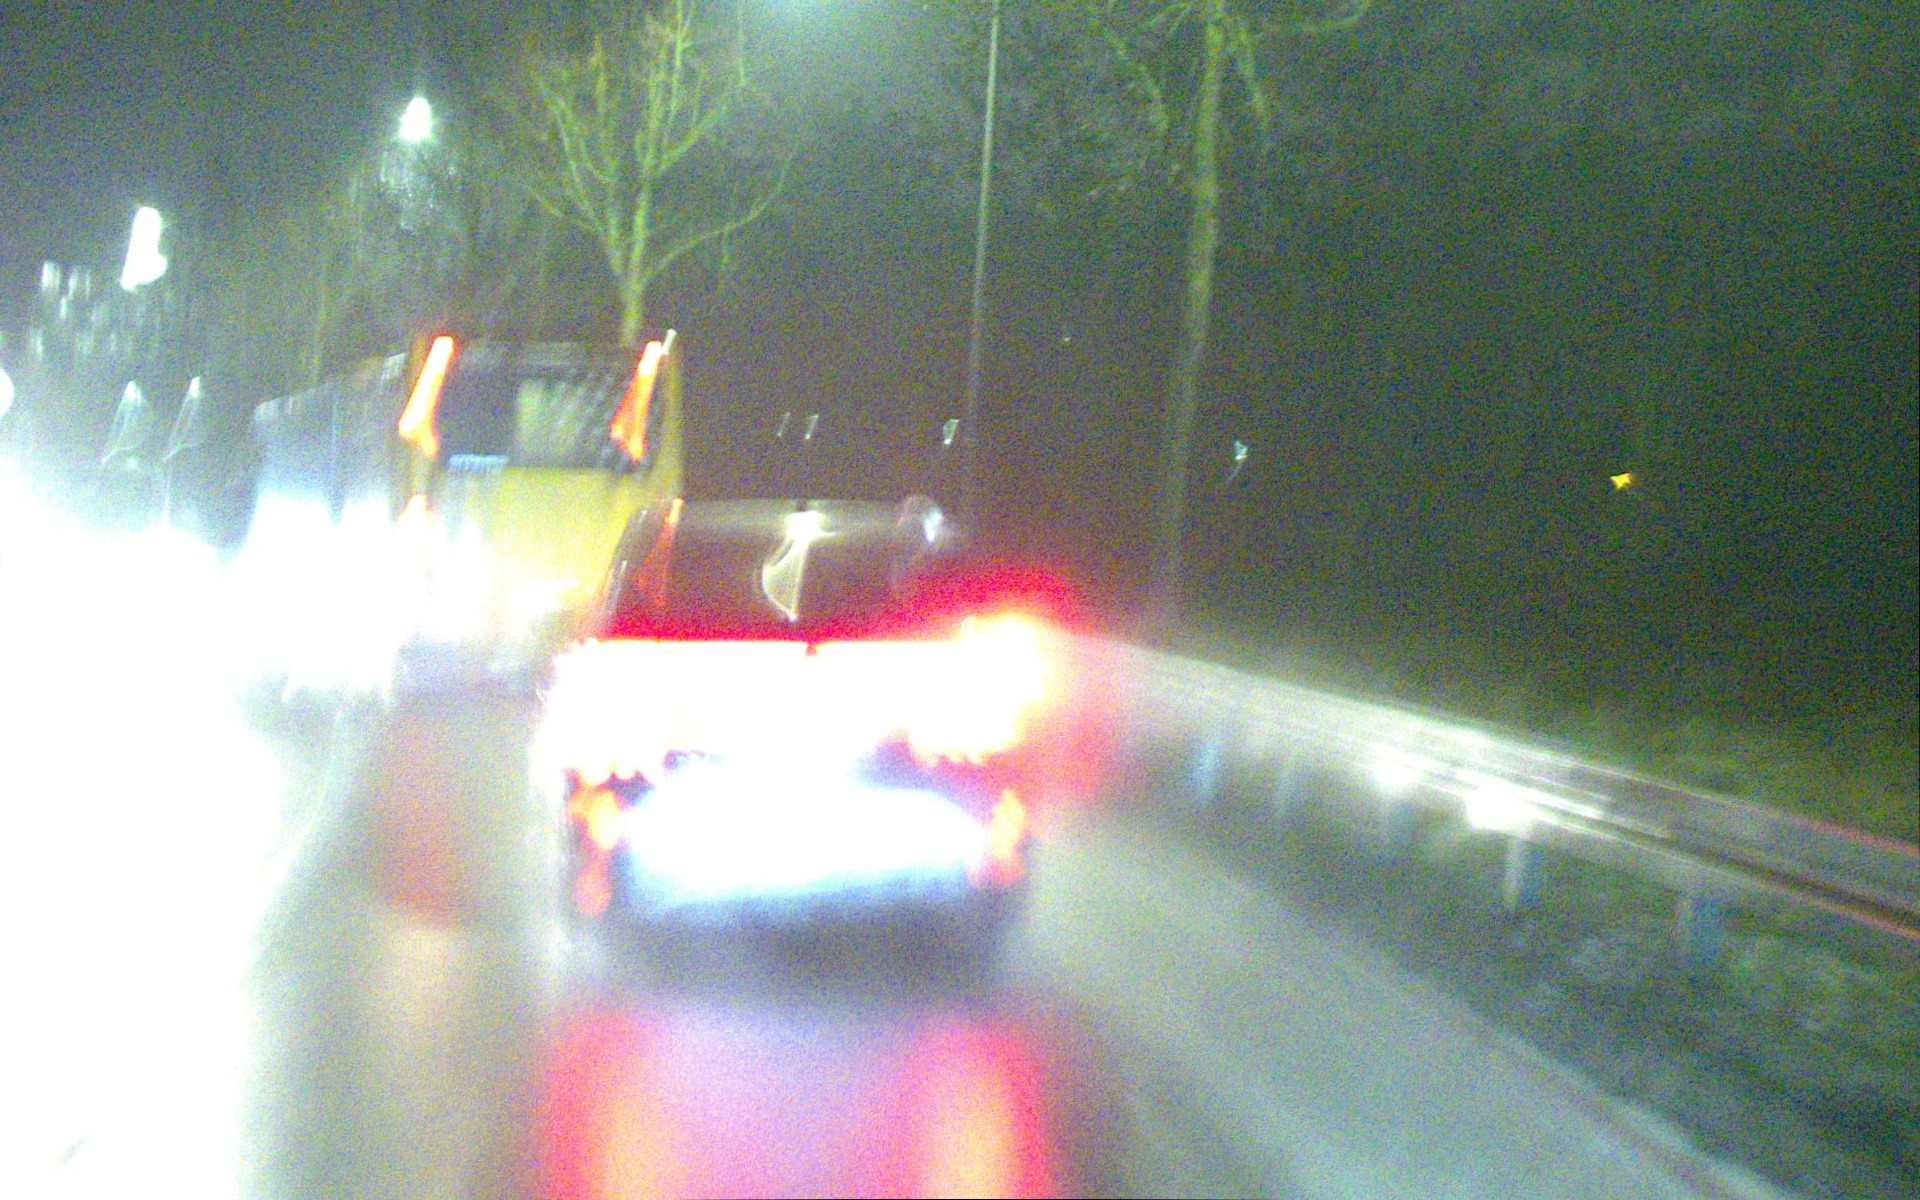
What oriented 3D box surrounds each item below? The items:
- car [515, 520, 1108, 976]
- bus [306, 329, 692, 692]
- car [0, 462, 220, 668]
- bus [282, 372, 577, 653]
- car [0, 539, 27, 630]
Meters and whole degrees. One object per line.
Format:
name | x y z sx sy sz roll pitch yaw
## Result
car | -0.645 0.463 13.672 1.993 1.519 4.001 1 1 -4
bus | -4.932 -0.907 35.094 3.042 3.201 9.053 -1 1 -13
car | -9.074 -0.414 35.872 2.448 1.981 5.496 0 2 -14
bus | -6.948 -1.111 43.896 3.042 3.201 9.053 -1 1 -13
car | -16.263 -0.261 55.873 1.728 1.400 3.864 -1 2 -21
